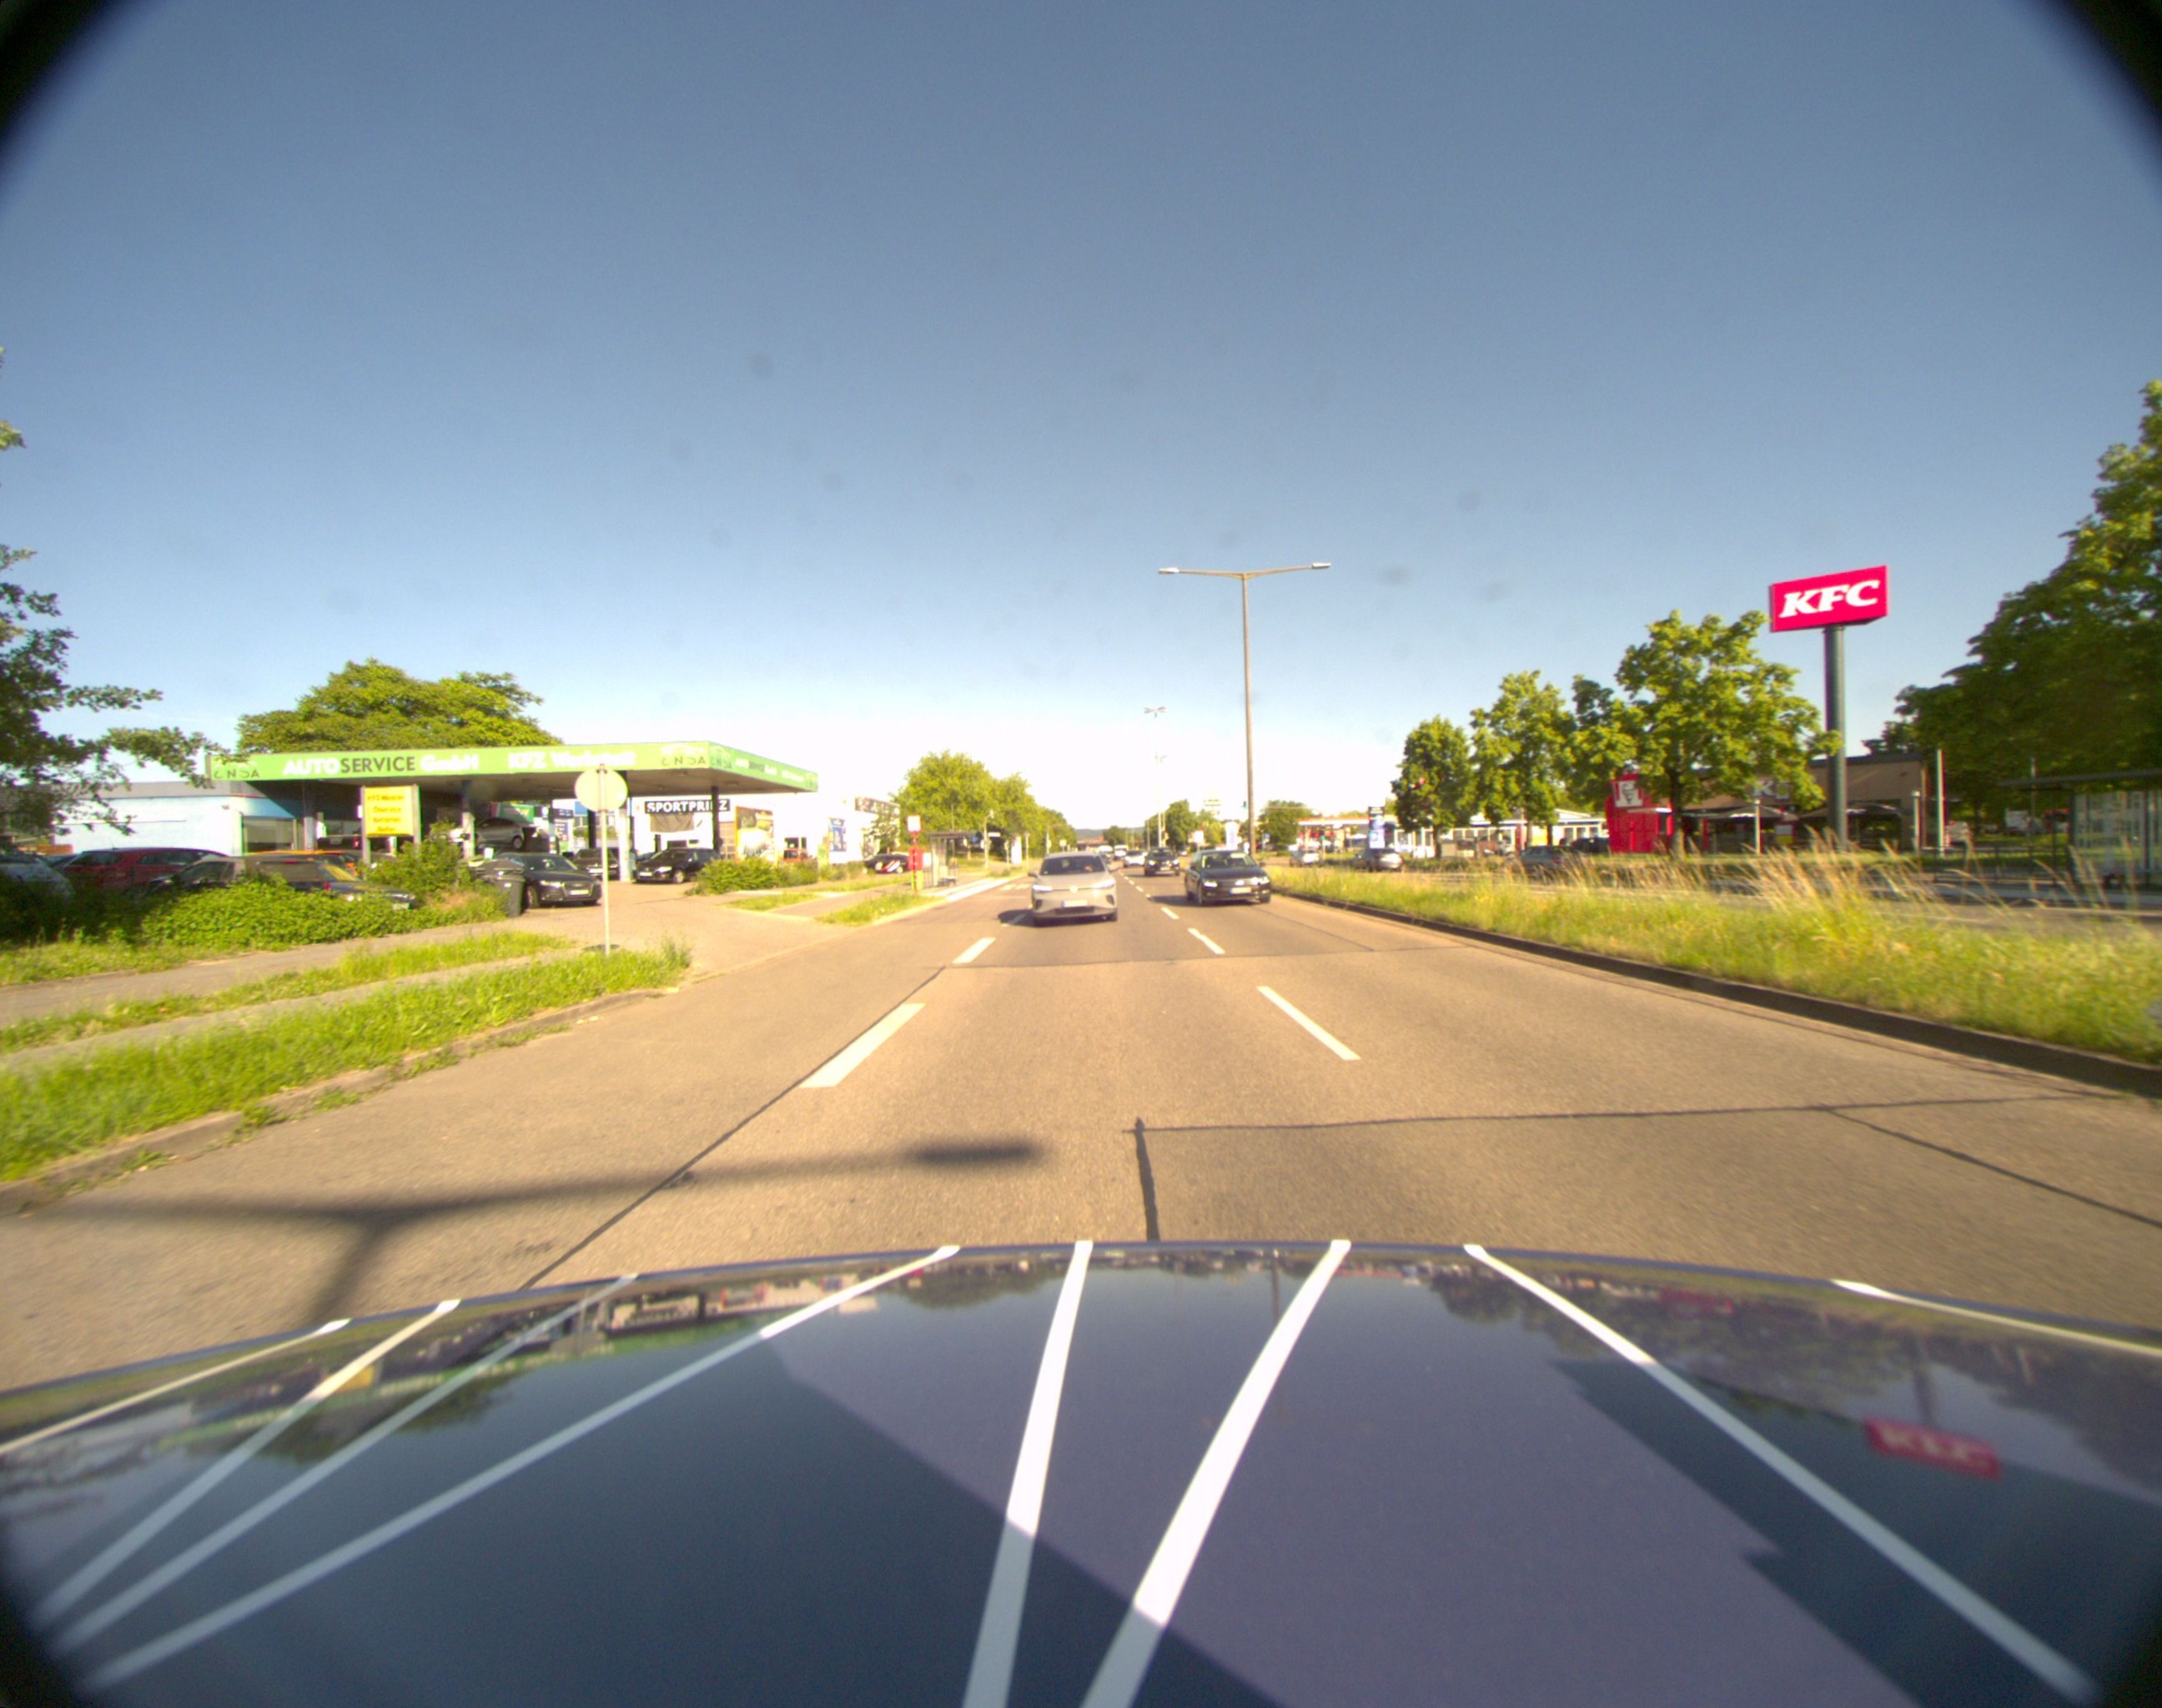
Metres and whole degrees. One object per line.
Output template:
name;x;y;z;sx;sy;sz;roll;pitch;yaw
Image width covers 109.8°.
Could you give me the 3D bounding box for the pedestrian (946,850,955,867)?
pedestrian;-13.235;0.462;77.005;0.759;1.706;0.617;-1;1;1

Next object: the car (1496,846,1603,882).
car;20.247;0.393;33.069;1.919;1.446;4.489;0;1;1

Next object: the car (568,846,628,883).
car;-21.772;0.470;34.158;2.003;1.477;3.990;-4;1;-35

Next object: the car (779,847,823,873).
car;-21.266;0.405;57.870;1.898;1.850;4.215;2;1;-1

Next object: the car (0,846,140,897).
car;-40.256;0.681;29.577;4.522;1.772;1.999;-3;1;-2

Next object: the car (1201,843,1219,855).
car;18.369;-0.687;108.162;1.998;1.674;4.176;0;1;1

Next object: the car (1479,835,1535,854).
car;39.769;-0.859;70.942;1.899;1.652;4.122;-2;1;-41

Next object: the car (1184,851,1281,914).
car;3.990;0.689;20.706;1.848;1.445;4.265;-3;0;2

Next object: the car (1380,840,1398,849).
car;58.817;-1.805;145.147;1.900;1.581;4.119;-1;0;0

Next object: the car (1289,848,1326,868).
car;17.060;0.256;57.467;1.645;1.442;4.111;0;1;1

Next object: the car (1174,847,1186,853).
car;22.276;-0.892;171.233;1.998;1.368;4.622;-1;1;1

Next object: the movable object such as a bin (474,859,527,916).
movable object such as a bin;-15.618;0.886;20.438;0.991;1.420;1.257;-3;1;-41

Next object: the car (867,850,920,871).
car;-14.855;0.526;60.316;3.614;1.283;1.841;5;2;2

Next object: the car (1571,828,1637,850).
car;44.184;-1.242;64.217;1.899;1.652;4.231;-4;1;-41

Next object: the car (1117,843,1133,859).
car;6.351;-0.479;110.340;2.089;2.230;4.000;-3;1;1

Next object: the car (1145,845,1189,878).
car;4.834;0.382;43.258;1.998;1.674;4.695;-3;1;1

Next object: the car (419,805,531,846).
car;-27.335;-1.245;34.463;1.923;1.745;3.778;-1;1;2

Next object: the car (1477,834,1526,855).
car;41.645;-0.959;75.326;1.850;1.840;3.820;-4;1;-39

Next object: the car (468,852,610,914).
car;-16.475;0.800;23.060;4.547;1.630;1.805;1;1;31

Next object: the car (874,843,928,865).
car;-15.089;0.004;63.590;3.924;1.444;1.726;5;2;12

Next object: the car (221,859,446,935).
car;-16.615;0.924;17.010;3.292;1.409;1.728;-3;1;3

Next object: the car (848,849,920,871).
car;-14.491;0.470;56.022;1.895;1.522;4.846;2;1;45

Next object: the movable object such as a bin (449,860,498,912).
movable object such as a bin;-17.472;0.908;21.840;0.991;1.420;1.221;-2;1;-41

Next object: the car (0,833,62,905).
car;-24.936;0.295;16.267;4.046;1.522;1.734;0;1;3

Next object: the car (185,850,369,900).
car;-26.110;0.655;24.780;3.998;1.508;1.697;-1;1;-3

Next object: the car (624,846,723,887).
car;-17.164;0.493;32.290;1.748;1.563;4.249;-1;0;2

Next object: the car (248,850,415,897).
car;-26.288;0.653;26.749;3.998;1.508;1.735;-1;1;-3

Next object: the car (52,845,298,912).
car;-24.881;0.592;21.141;1.717;1.598;4.135;-3;1;1

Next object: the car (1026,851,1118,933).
car;-0.125;0.797;18.041;1.848;1.615;4.265;-3;0;2

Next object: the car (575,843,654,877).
car;-29.621;0.352;48.353;3.700;1.896;1.924;-3;1;1

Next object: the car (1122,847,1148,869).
car;4.679;0.296;66.849;1.998;1.779;4.270;-3;1;1

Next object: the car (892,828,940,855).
car;-14.455;-1.109;66.569;3.987;2.002;1.690;6;1;33

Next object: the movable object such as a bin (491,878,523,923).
movable object such as a bin;-14.500;1.163;19.196;0.583;1.068;0.508;-3;1;-40

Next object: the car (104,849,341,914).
car;-22.618;0.663;20.285;1.728;1.455;3.915;-3;1;1

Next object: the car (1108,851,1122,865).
car;5.501;0.650;123.136;1.998;2.002;4.000;-3;1;1

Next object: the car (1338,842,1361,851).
car;39.260;-1.061;111.063;1.900;1.317;4.119;0;1;0

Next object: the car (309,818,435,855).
car;-30.461;-0.730;32.804;1.923;1.469;3.627;-1;1;2

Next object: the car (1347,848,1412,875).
car;16.562;0.368;42.416;1.822;1.426;4.630;0;1;1

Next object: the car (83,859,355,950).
car;-16.755;0.935;14.893;3.292;1.477;1.772;-3;1;3

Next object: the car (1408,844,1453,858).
car;39.466;-0.372;85.881;4.192;1.465;2.000;-1;1;3

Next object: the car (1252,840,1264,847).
car;40.399;-2.422;173.188;1.762;1.604;4.119;0;1;0

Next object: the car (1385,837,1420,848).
car;44.589;-1.604;105.512;4.116;1.424;1.901;0;1;1
